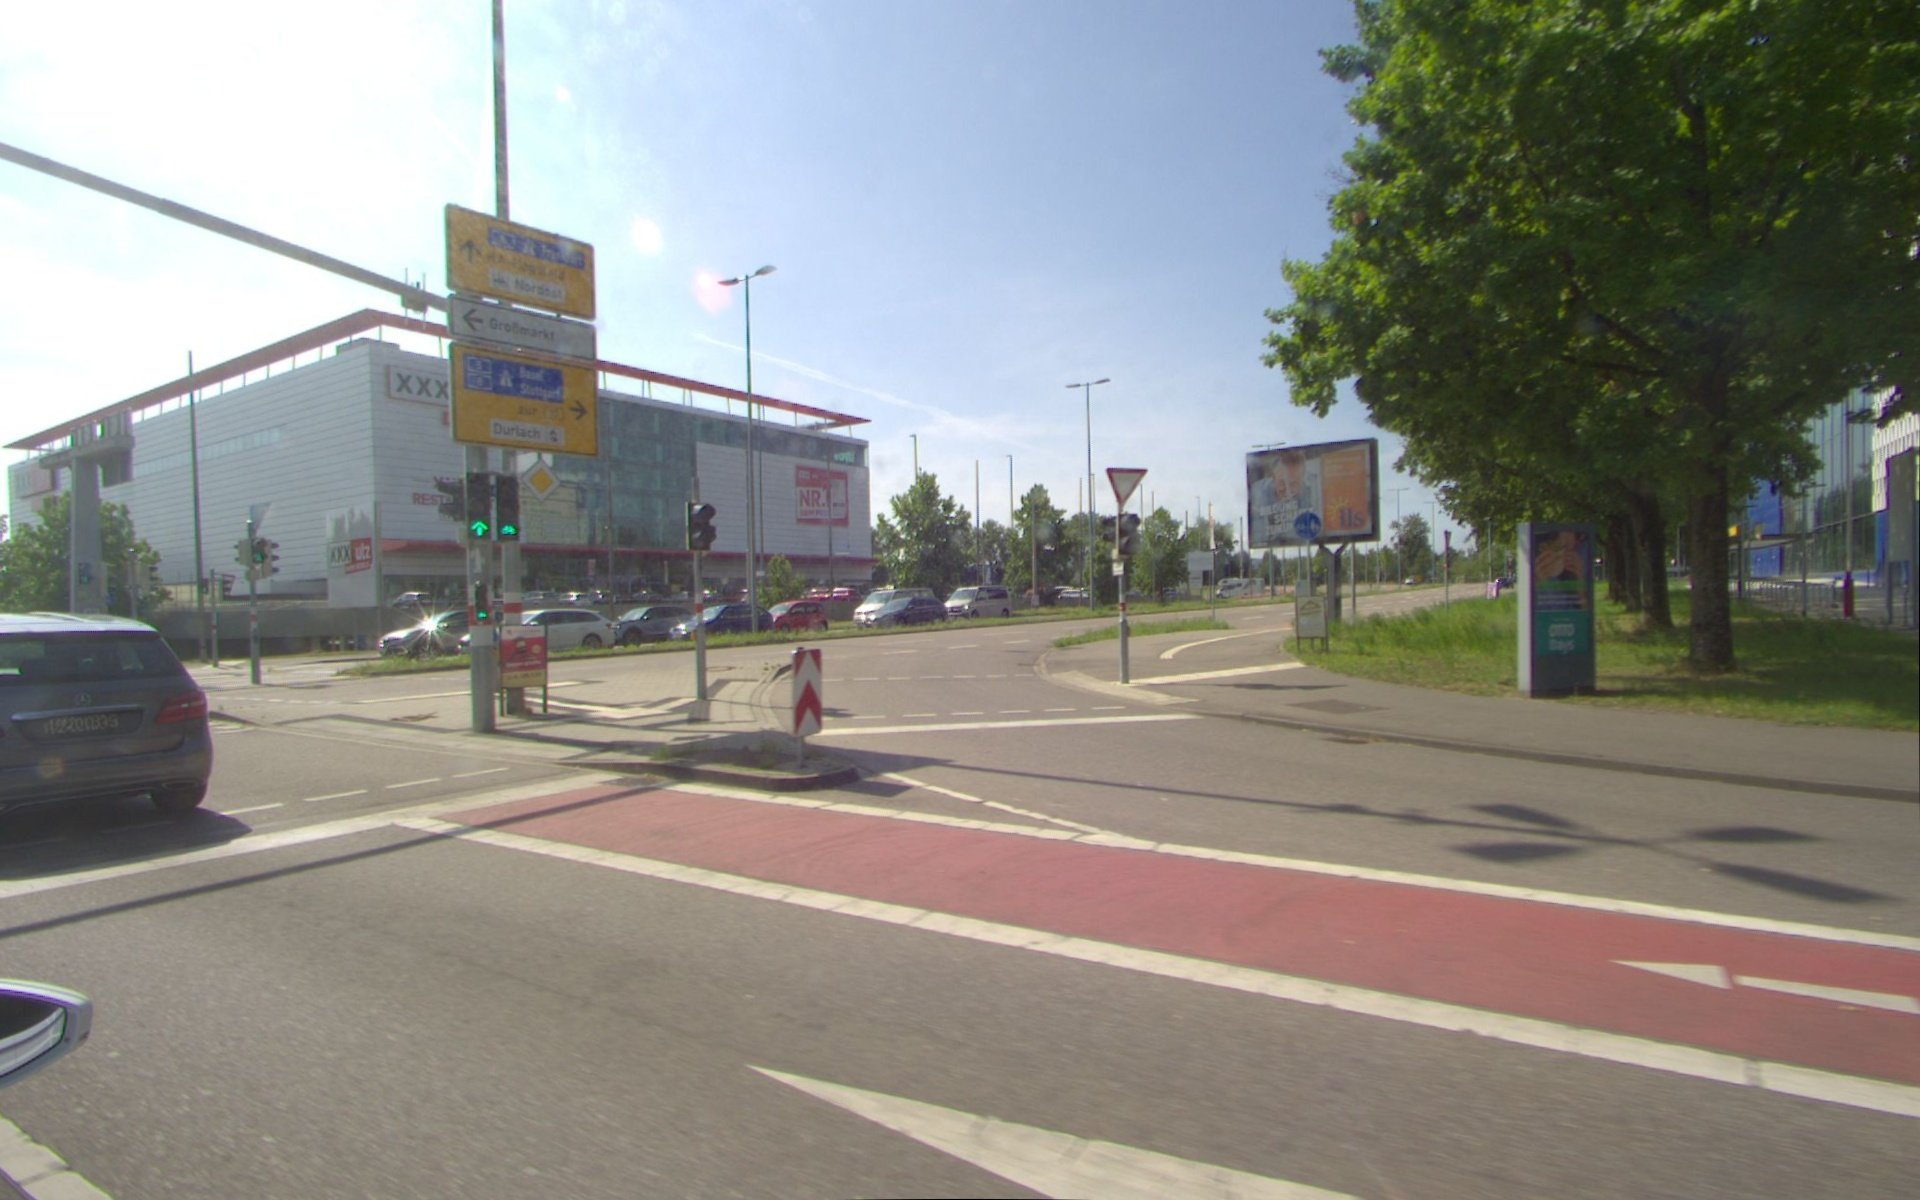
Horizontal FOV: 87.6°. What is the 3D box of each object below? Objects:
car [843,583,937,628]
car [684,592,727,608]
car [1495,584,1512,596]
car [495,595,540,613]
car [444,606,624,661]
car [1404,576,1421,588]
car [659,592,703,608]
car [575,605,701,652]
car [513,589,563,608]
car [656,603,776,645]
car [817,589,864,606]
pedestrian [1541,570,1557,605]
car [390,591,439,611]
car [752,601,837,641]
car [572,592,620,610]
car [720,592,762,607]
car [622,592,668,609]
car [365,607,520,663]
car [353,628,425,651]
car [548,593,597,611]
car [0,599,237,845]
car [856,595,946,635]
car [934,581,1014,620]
[{"bbox_3d":[-3.313,0.248,48.443,1.937,2.001,4.658,-3,-1,35],"label":"car"},{"bbox_3d":[-24.466,0.025,96.174,4.144,1.438,1.730,-1,0,35],"label":"car"},{"bbox_3d":[71.245,-1.315,131.269,1.619,1.555,3.892,-1,0,34],"label":"car"},{"bbox_3d":[-38.934,0.356,88.050,3.857,1.438,1.682,-1,0,30],"label":"car"},{"bbox_3d":[-12.830,0.977,30.437,1.933,1.444,4.701,-3,-1,35],"label":"car"},{"bbox_3d":[74.322,-2.960,164.355,1.858,1.707,3.975,-2,2,33],"label":"car"},{"bbox_3d":[-26.290,0.025,94.345,4.143,1.438,1.799,-1,0,35],"label":"car"},{"bbox_3d":[-11.712,1.016,36.644,1.883,1.528,4.015,-2,0,35],"label":"car"},{"bbox_3d":[-34.571,-0.131,82.011,3.951,1.438,1.795,-1,0,32],"label":"car"},{"bbox_3d":[-8.653,0.836,35.821,1.701,1.359,4.032,-2,-1,35],"label":"car"},{"bbox_3d":[-10.789,-0.184,90.323,4.051,1.438,1.784,-1,0,33],"label":"car"},{"bbox_3d":[35.587,-0.746,60.465,0.670,2.039,0.600,-1,-2,18],"label":"pedestrian"},{"bbox_3d":[-42.867,0.072,78.684,4.144,1.438,1.765,-1,0,35],"label":"car"},{"bbox_3d":[-7.012,0.857,42.753,1.578,1.596,3.458,-1,0,36],"label":"car"},{"bbox_3d":[-31.463,0.110,86.591,4.144,1.438,1.866,-1,0,35],"label":"car"},{"bbox_3d":[-21.982,-0.054,100.634,4.144,1.438,1.784,-1,0,35],"label":"car"},{"bbox_3d":[-28.482,0.027,90.508,4.144,1.438,1.895,-1,0,35],"label":"car"},{"bbox_3d":[-15.981,1.046,31.084,1.785,1.579,3.871,-1,0,36],"label":"car"},{"bbox_3d":[-40.058,2.739,70.380,1.772,1.542,4.109,-1,-1,28],"label":"car"},{"bbox_3d":[-32.485,0.182,83.917,4.144,1.438,1.826,-1,0,35],"label":"car"},{"bbox_3d":[-7.578,0.803,7.812,4.078,1.559,1.770,-1,-1,32],"label":"car"},{"bbox_3d":[-2.518,0.636,43.841,1.662,1.641,4.102,-1,0,37],"label":"car"},{"bbox_3d":[0.812,0.002,54.172,1.889,1.961,4.760,-3,-1,35],"label":"car"}]
